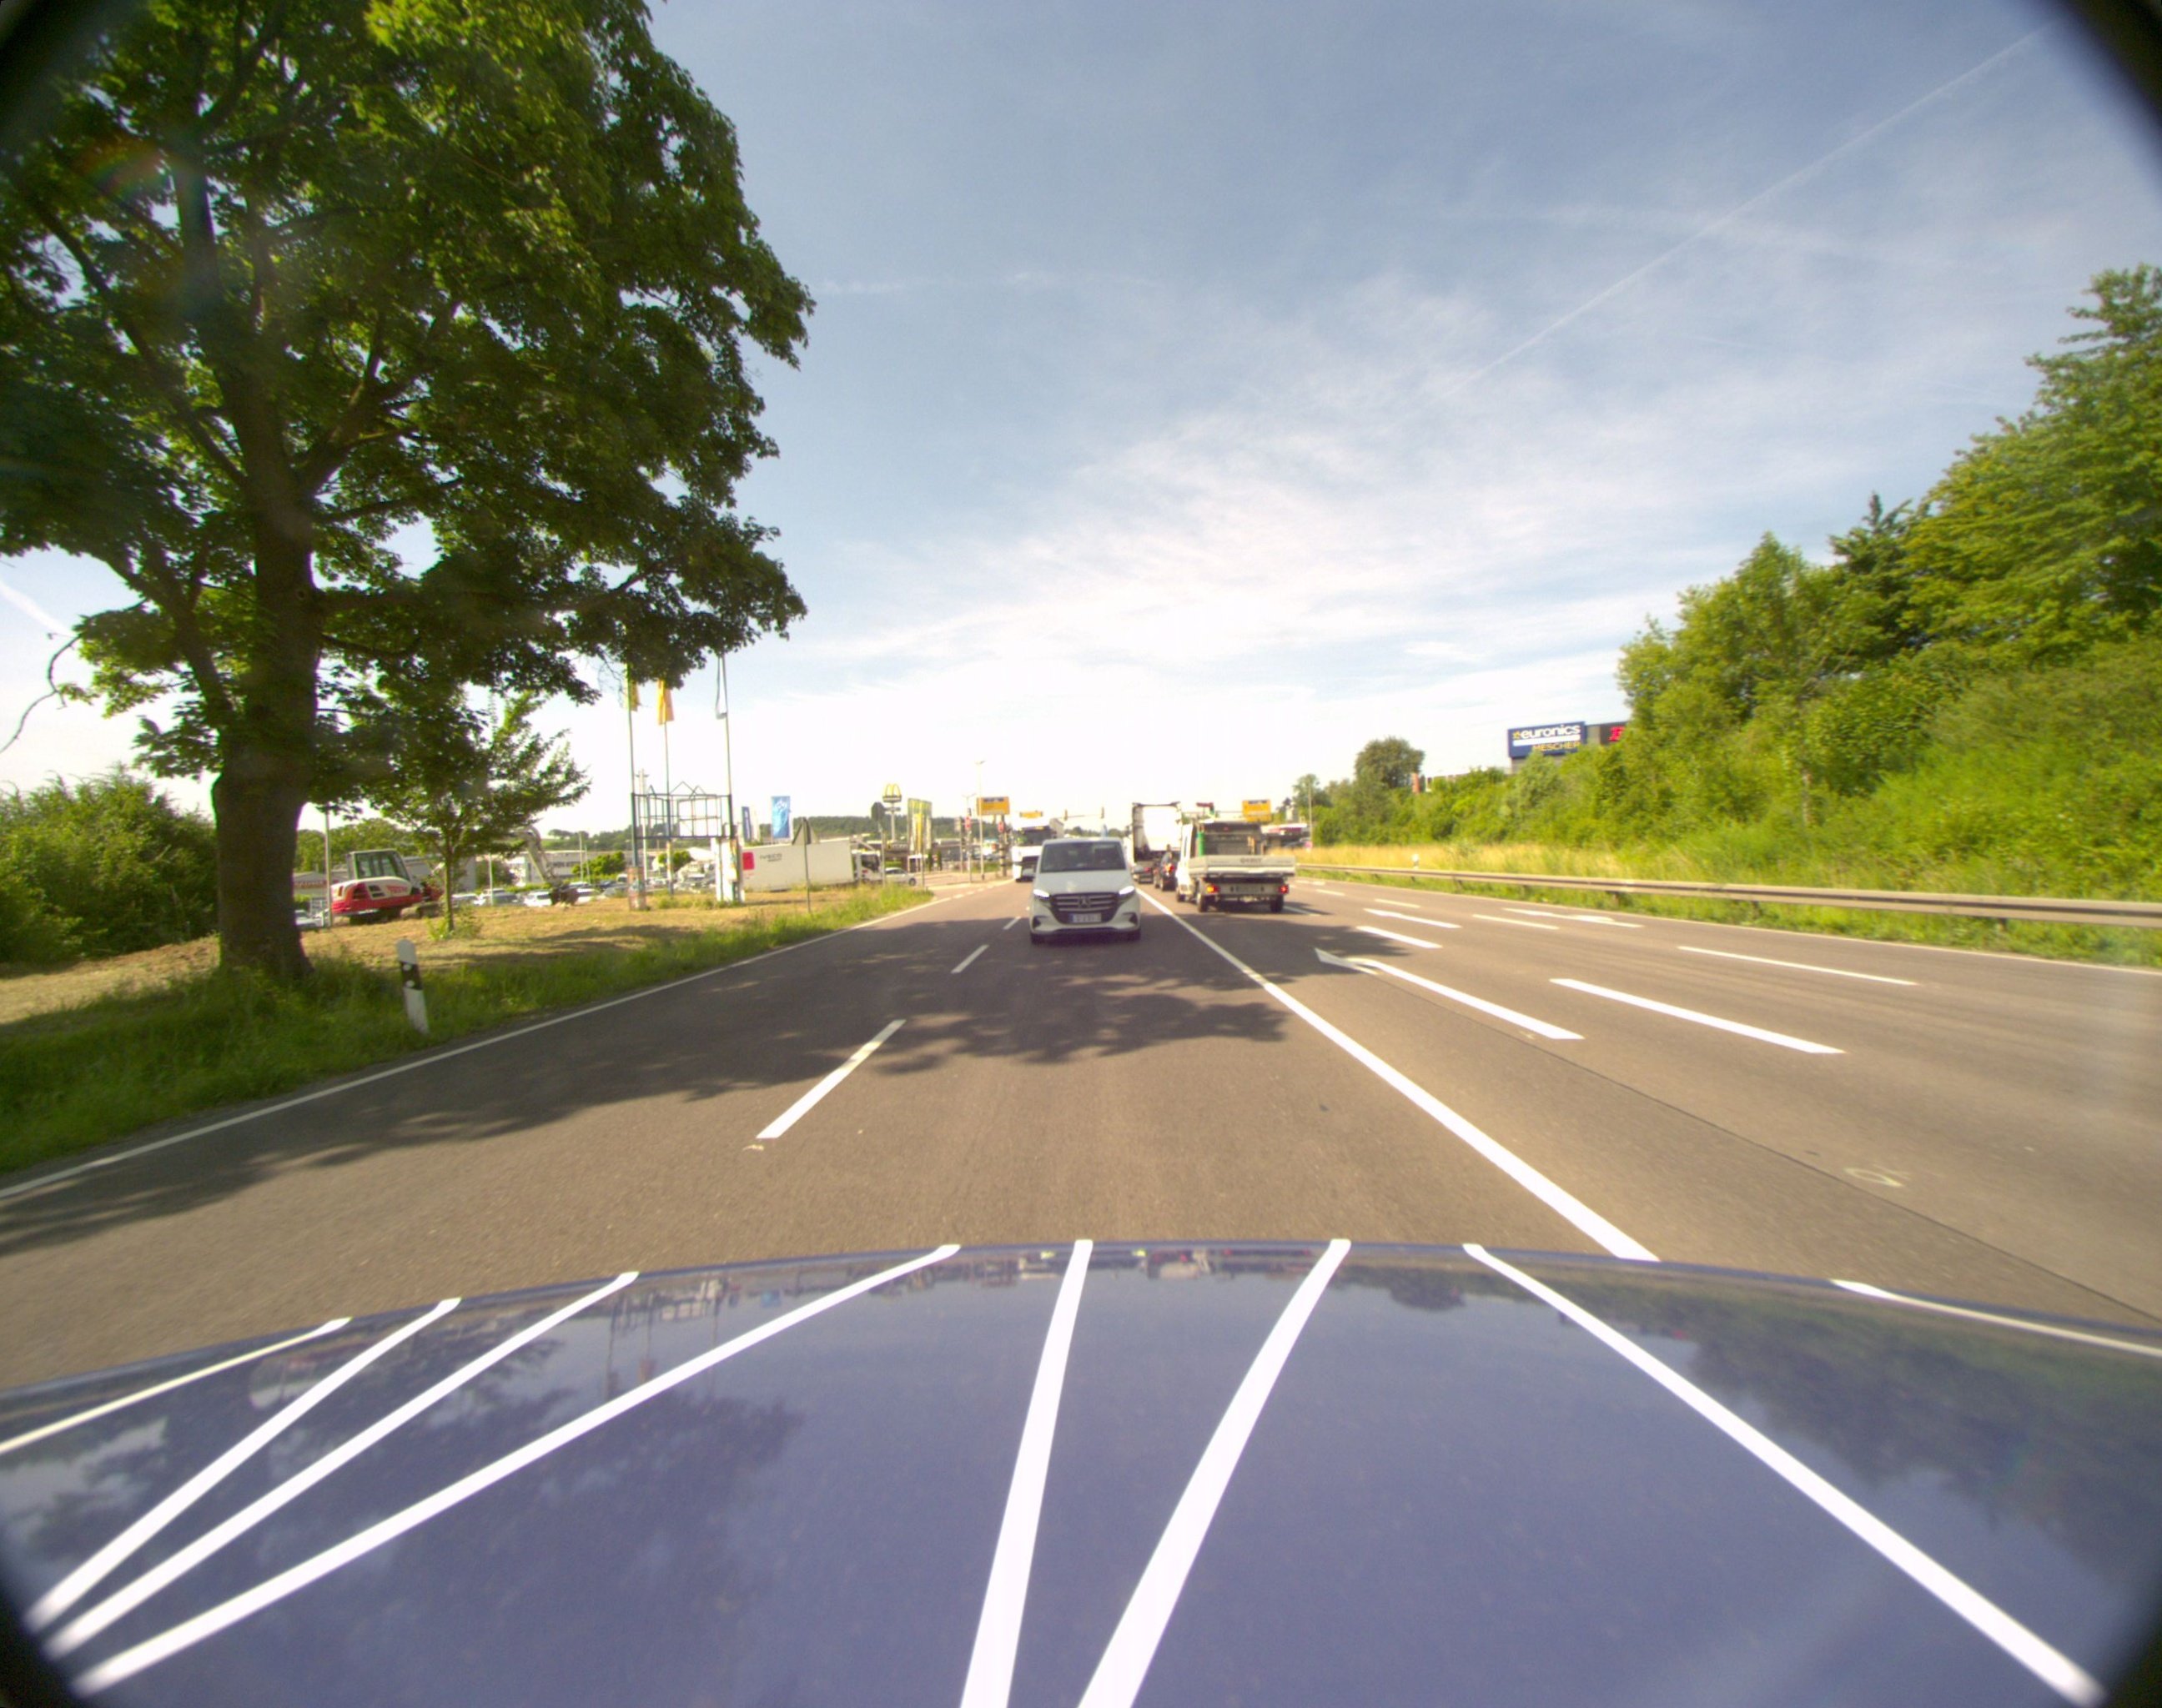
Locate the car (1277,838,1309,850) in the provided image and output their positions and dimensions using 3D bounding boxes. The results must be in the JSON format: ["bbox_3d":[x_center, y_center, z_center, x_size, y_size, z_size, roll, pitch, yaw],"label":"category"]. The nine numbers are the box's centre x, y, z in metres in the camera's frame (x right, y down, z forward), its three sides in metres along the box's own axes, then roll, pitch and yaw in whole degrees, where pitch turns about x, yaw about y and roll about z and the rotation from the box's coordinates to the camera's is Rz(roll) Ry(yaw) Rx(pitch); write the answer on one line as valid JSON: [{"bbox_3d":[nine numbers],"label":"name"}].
[{"bbox_3d":[30.594,-1.449,109.560,4.982,1.411,1.944,-5,4,-42],"label":"car"}]

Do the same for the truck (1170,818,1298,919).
[{"bbox_3d":[3.852,0.299,20.488,2.232,2.254,6.499,-1,1,1],"label":"truck"}]

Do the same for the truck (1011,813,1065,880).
[{"bbox_3d":[-2.631,-0.463,48.468,2.646,3.964,6.042,-1,1,4],"label":"truck"}]

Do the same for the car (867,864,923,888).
[{"bbox_3d":[-14.279,1.649,58.524,1.706,1.496,3.762,-3,2,41],"label":"car"}]

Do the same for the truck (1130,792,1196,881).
[{"bbox_3d":[3.979,-0.846,38.092,2.543,4.064,6.264,-1,1,0],"label":"truck"}]

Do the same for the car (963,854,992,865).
[{"bbox_3d":[-16.143,0.812,118.719,1.855,1.567,4.242,0,1,38],"label":"car"}]

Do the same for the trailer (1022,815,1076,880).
[{"bbox_3d":[-2.140,-0.482,55.024,2.612,4.203,11.293,-1,1,4],"label":"trailer"}]

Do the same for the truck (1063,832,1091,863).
[{"bbox_3d":[-0.494,-0.926,102.273,2.646,3.964,9.242,-1,1,7],"label":"truck"}]

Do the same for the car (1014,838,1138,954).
[{"bbox_3d":[0.056,0.650,15.228,1.993,1.858,5.803,-1,1,3],"label":"car"}]

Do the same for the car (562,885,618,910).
[{"bbox_3d":[-35.800,3.122,55.376,4.466,1.609,2.004,0,1,37],"label":"car"}]

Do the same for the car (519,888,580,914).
[{"bbox_3d":[-37.330,3.261,53.384,4.461,1.609,2.096,0,1,35],"label":"car"}]

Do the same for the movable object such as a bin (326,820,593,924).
[{"bbox_3d":[-21.594,0.505,26.766,2.893,3.189,6.718,0,1,38],"label":"movable object such as a bin"}]

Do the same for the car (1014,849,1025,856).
[{"bbox_3d":[-14.731,-0.362,182.553,1.773,1.645,4.540,-1,1,8],"label":"car"}]

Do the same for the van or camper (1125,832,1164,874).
[{"bbox_3d":[4.200,-0.102,51.679,2.336,2.585,6.979,-1,1,2],"label":"van or camper"}]

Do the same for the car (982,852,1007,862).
[{"bbox_3d":[-15.631,0.526,136.712,4.007,1.661,1.916,-1,1,-34],"label":"car"}]

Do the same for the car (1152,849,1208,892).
[{"bbox_3d":[3.810,0.588,29.923,1.715,1.542,4.108,-1,1,1],"label":"car"}]

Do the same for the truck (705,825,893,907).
[{"bbox_3d":[-16.187,0.597,44.415,9.705,3.608,2.763,-6,2,-15],"label":"truck"}]

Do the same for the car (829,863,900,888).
[{"bbox_3d":[-17.099,1.701,60.163,1.995,1.497,5.008,-3,2,42],"label":"car"}]

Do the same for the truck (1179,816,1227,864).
[{"bbox_3d":[11.165,-1.259,70.263,2.837,4.092,9.680,-1,1,0],"label":"truck"}]

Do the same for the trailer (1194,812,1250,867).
[{"bbox_3d":[11.175,-1.145,61.053,2.847,4.046,8.754,-1,1,0],"label":"trailer"}]

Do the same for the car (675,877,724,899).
[{"bbox_3d":[-30.652,2.665,61.045,3.988,1.565,2.004,0,1,39],"label":"car"}]

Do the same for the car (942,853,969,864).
[{"bbox_3d":[-20.045,0.723,121.375,1.771,1.661,4.178,0,1,38],"label":"car"}]
